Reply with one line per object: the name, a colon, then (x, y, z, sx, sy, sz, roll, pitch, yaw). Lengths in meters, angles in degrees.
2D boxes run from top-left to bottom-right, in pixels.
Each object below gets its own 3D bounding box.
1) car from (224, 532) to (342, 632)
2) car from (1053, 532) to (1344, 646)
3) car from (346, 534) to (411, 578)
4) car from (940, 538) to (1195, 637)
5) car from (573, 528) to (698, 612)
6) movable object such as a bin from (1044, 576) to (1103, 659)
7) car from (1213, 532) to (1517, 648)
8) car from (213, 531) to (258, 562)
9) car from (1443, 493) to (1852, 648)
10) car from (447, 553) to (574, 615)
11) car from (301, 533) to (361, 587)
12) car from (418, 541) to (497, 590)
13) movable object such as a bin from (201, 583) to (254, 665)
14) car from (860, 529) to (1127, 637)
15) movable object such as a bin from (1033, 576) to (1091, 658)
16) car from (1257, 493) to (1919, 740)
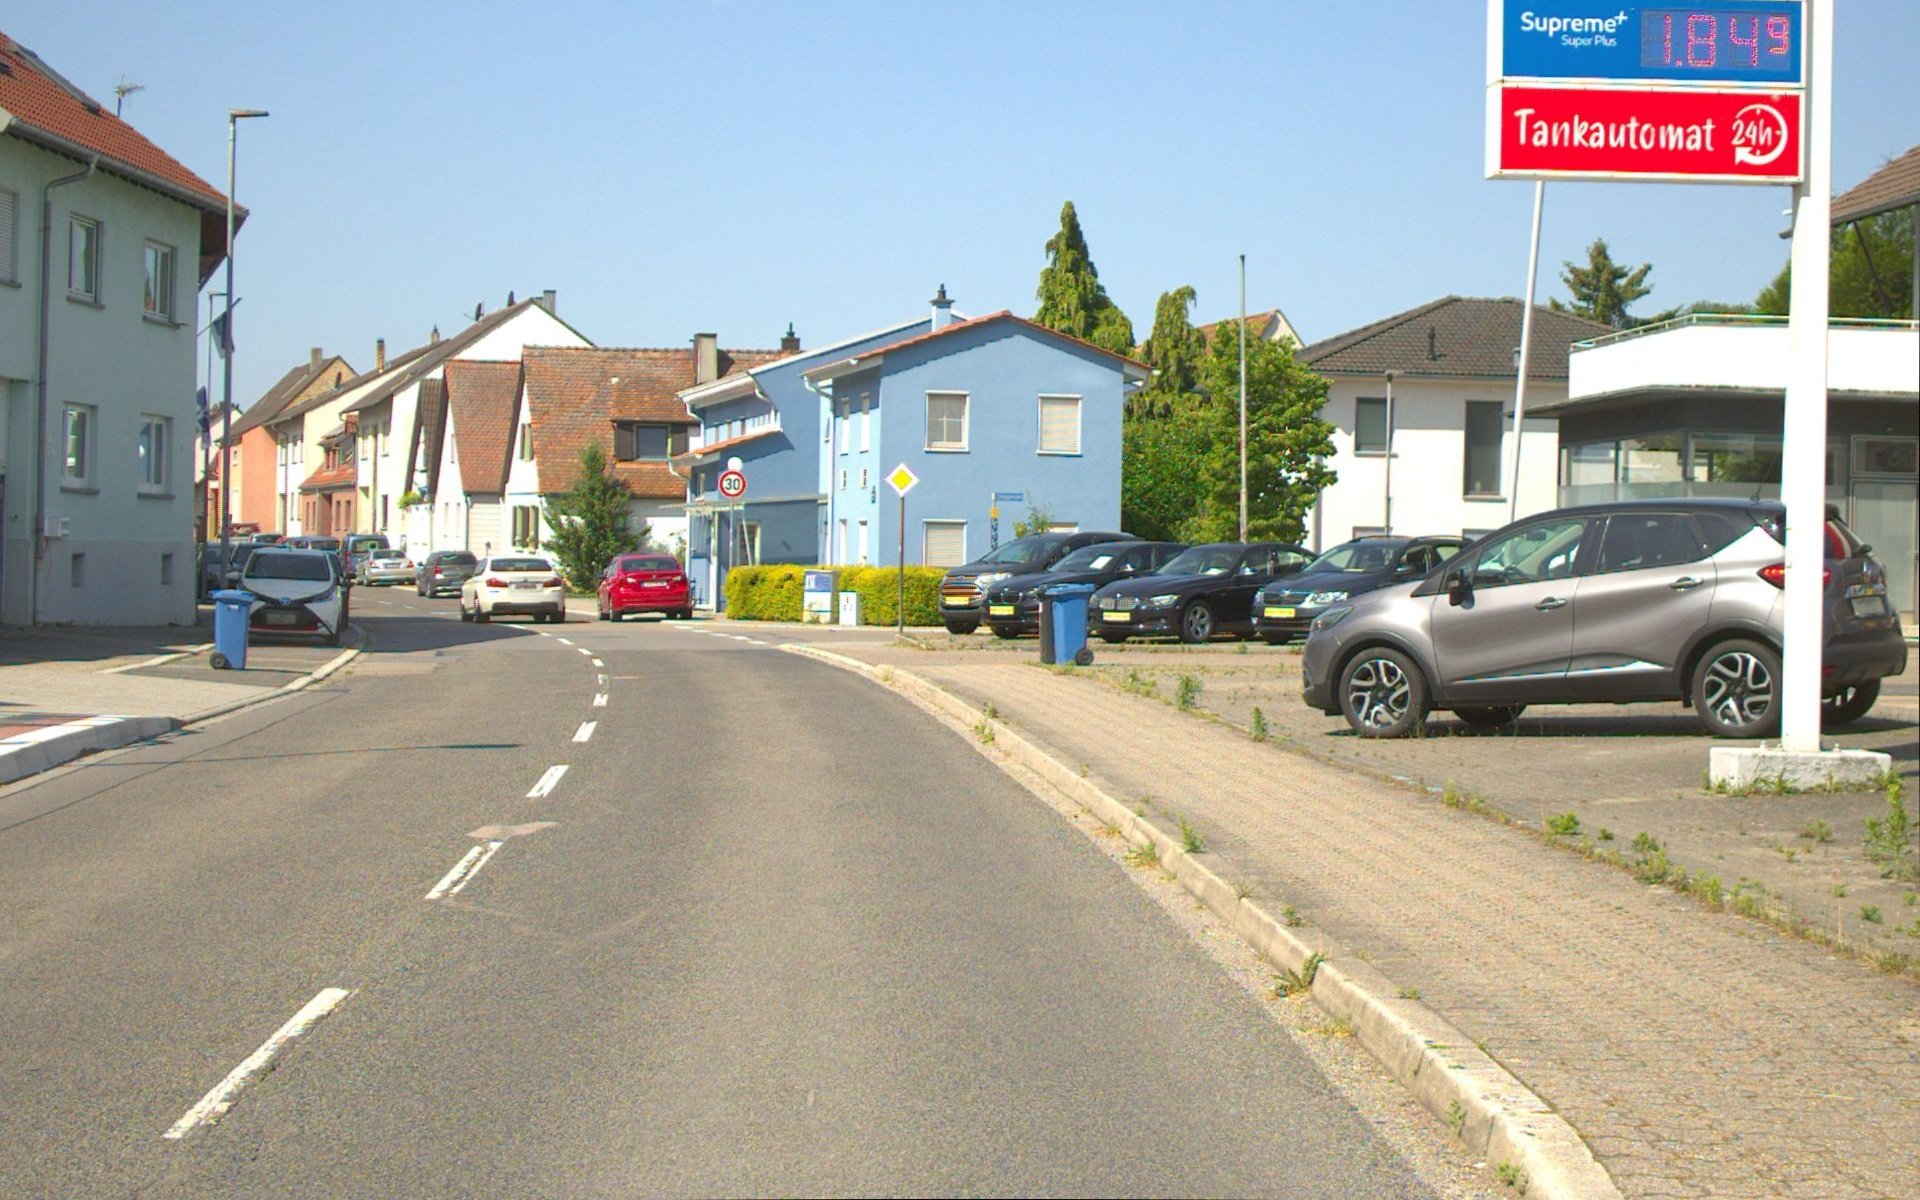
car: (-10.479, -0.278, 53.355, 1.683, 1.457, 3.650, 1, 0, -10)
car: (3.479, -0.181, 49.679, 1.983, 1.560, 4.229, 1, 1, 43)
car: (-20.606, -1.567, 121.750, 1.704, 1.491, 3.453, 2, 0, -18)
car: (1.656, -0.207, 51.958, 1.750, 1.442, 3.864, 1, 1, 43)
car: (-7.114, -0.692, 74.990, 1.732, 1.489, 4.357, -1, 5, -19)
movable object such as a bin: (1.293, 0.197, 39.194, 0.557, 0.936, 0.515, 0, 1, -13)
car: (5.699, -0.167, 48.067, 1.983, 1.545, 4.306, 1, 1, 45)
car: (-34.216, -2.525, 162.293, 1.766, 1.428, 3.451, 0, 1, -17)
car: (9.369, -0.409, 46.772, 5.268, 2.007, 2.232, 0, 1, -30)
car: (-9.626, -0.359, 73.446, 1.993, 1.284, 4.001, 0, 1, -18)
car: (-23.140, -1.485, 126.407, 1.649, 1.903, 3.627, 2, 0, -18)
car: (-15.488, -1.063, 105.831, 1.704, 1.428, 3.891, 2, 0, -18)
movable object such as a bin: (-8.679, 0.279, 40.718, 0.557, 0.933, 0.515, 3, 0, -13)
car: (0.561, -0.290, 54.452, 4.103, 1.647, 1.830, -1, 1, -43)
movable object such as a bin: (1.179, 0.193, 39.728, 0.557, 0.933, 0.515, 0, 1, -13)
car: (4.296, 0.123, 23.381, 4.176, 1.550, 1.771, -1, 0, 34)
